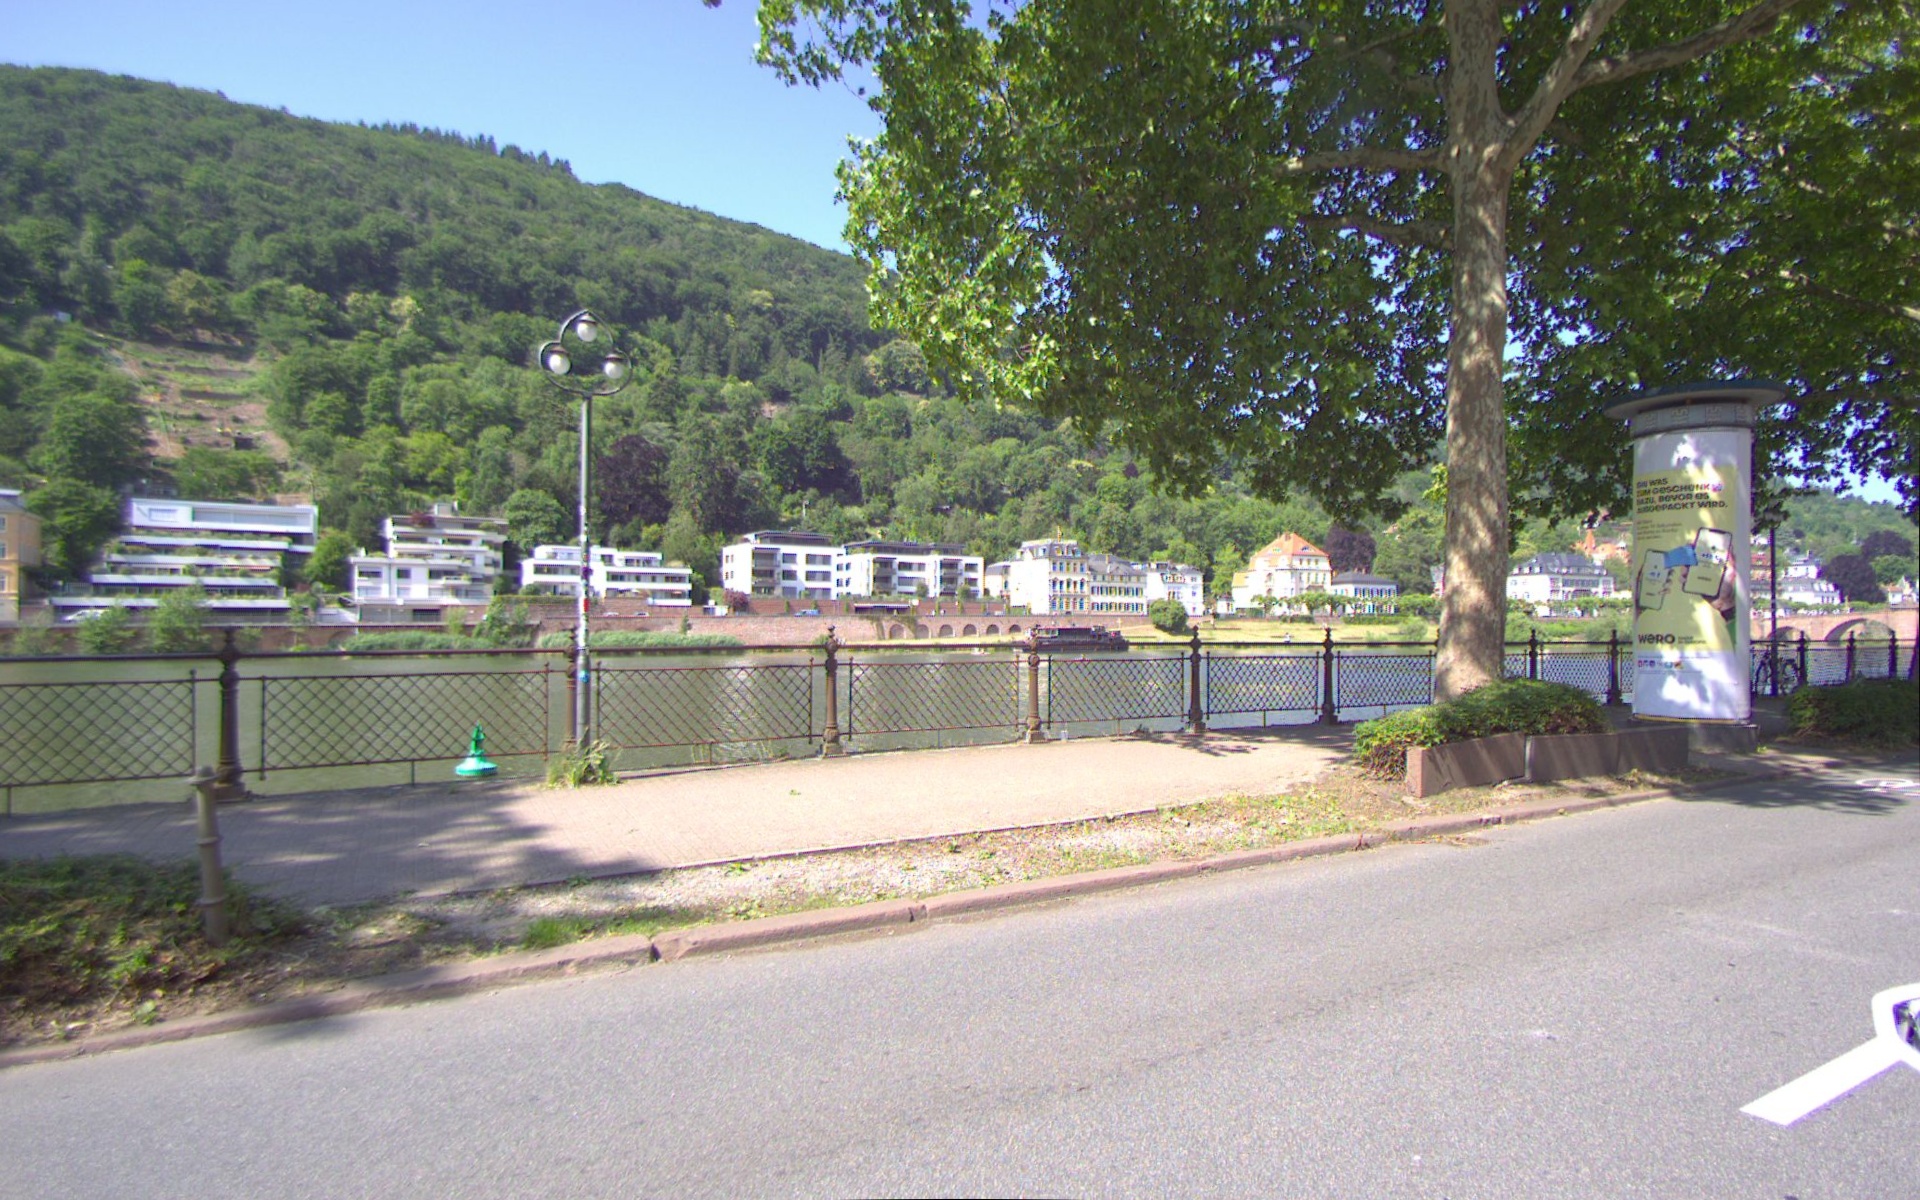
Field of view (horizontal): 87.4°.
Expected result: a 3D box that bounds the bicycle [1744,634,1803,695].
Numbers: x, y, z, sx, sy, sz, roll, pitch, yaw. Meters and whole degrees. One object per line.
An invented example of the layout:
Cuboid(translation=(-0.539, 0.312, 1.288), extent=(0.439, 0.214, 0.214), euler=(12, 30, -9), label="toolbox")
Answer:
Cuboid(translation=(16.304, 1.272, 20.108), extent=(1.806, 1.177, 0.355), euler=(1, 1, -33), label="bicycle")
